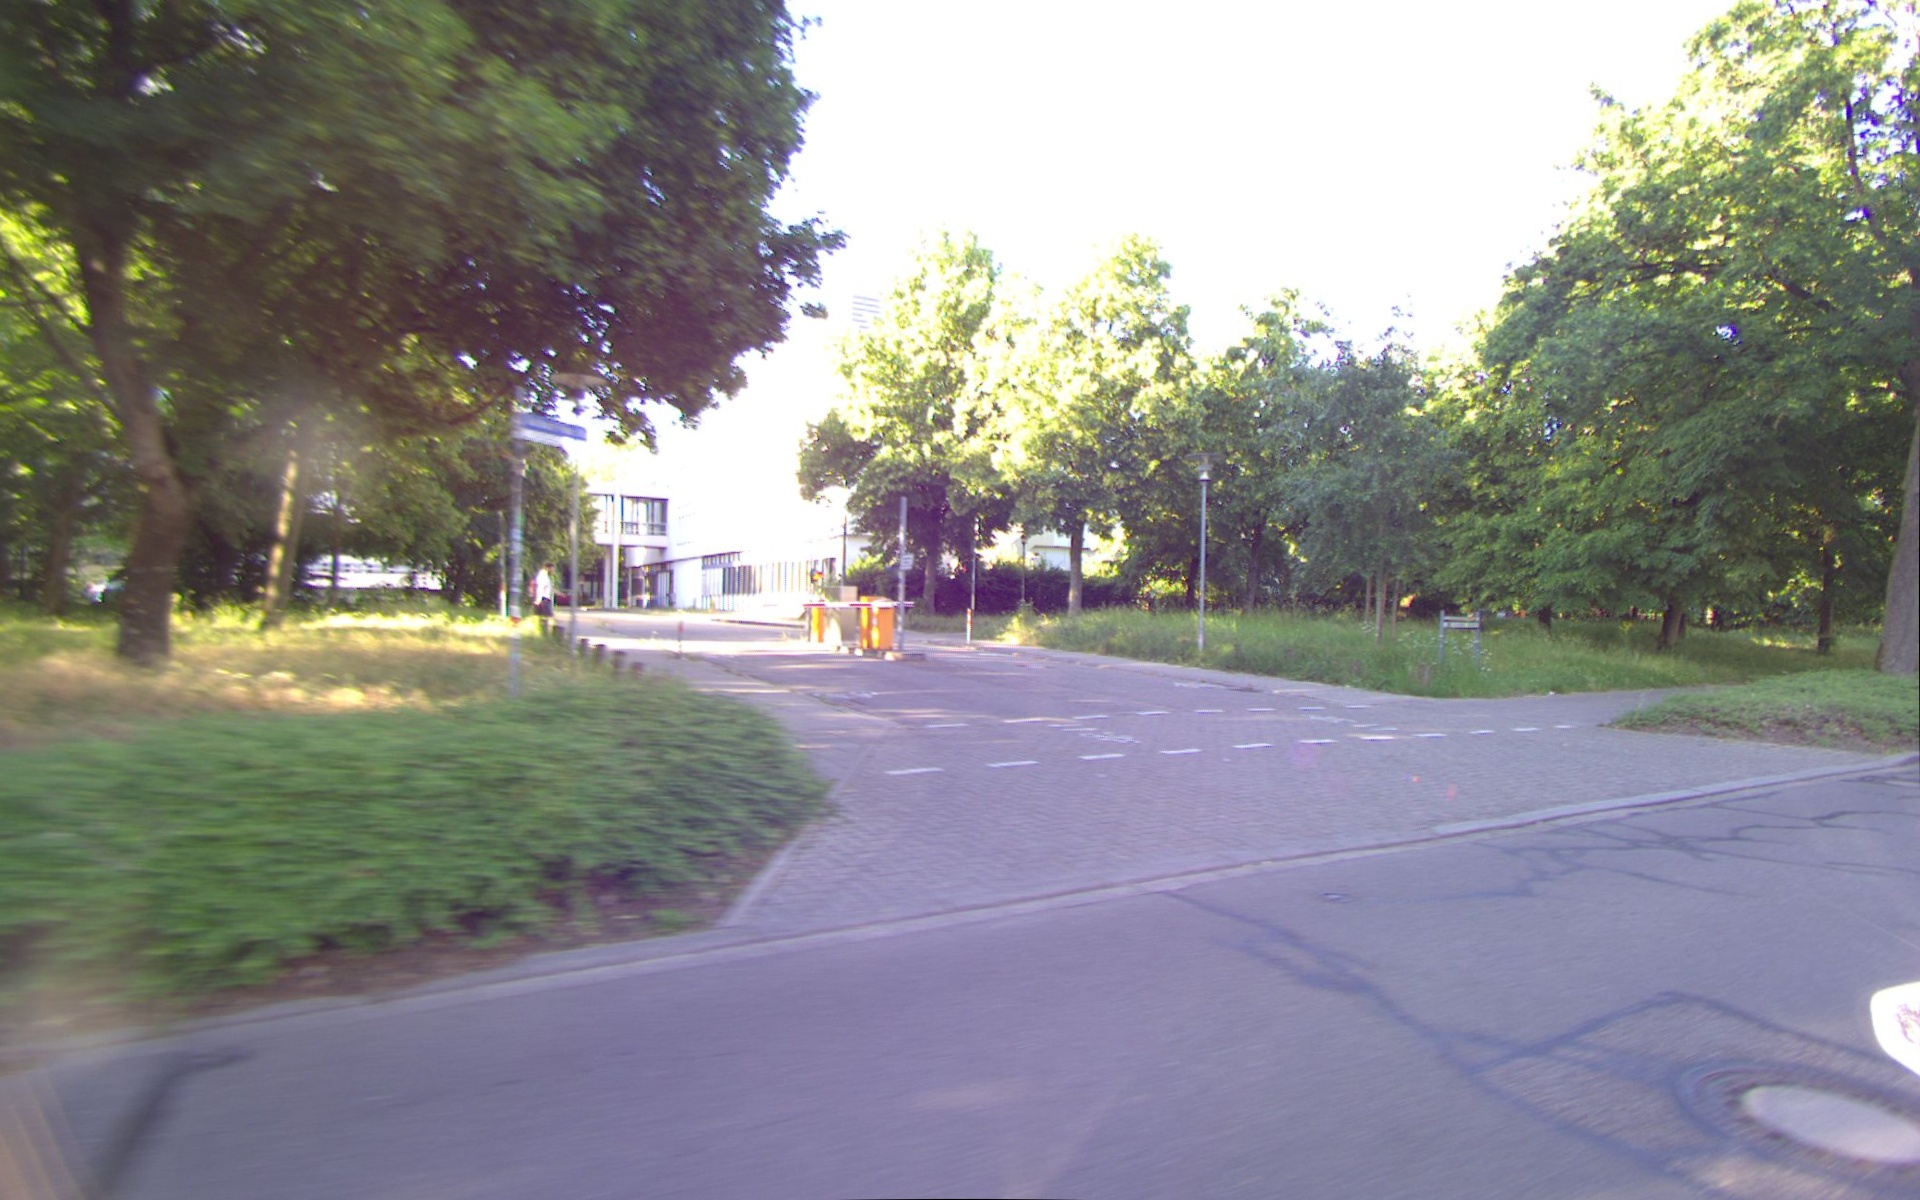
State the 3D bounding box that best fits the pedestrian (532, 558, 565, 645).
[{"bbox_3d":[-9.803,0.037,23.936,0.584,2.041,0.752,1,1,-32],"label":"pedestrian"}]
